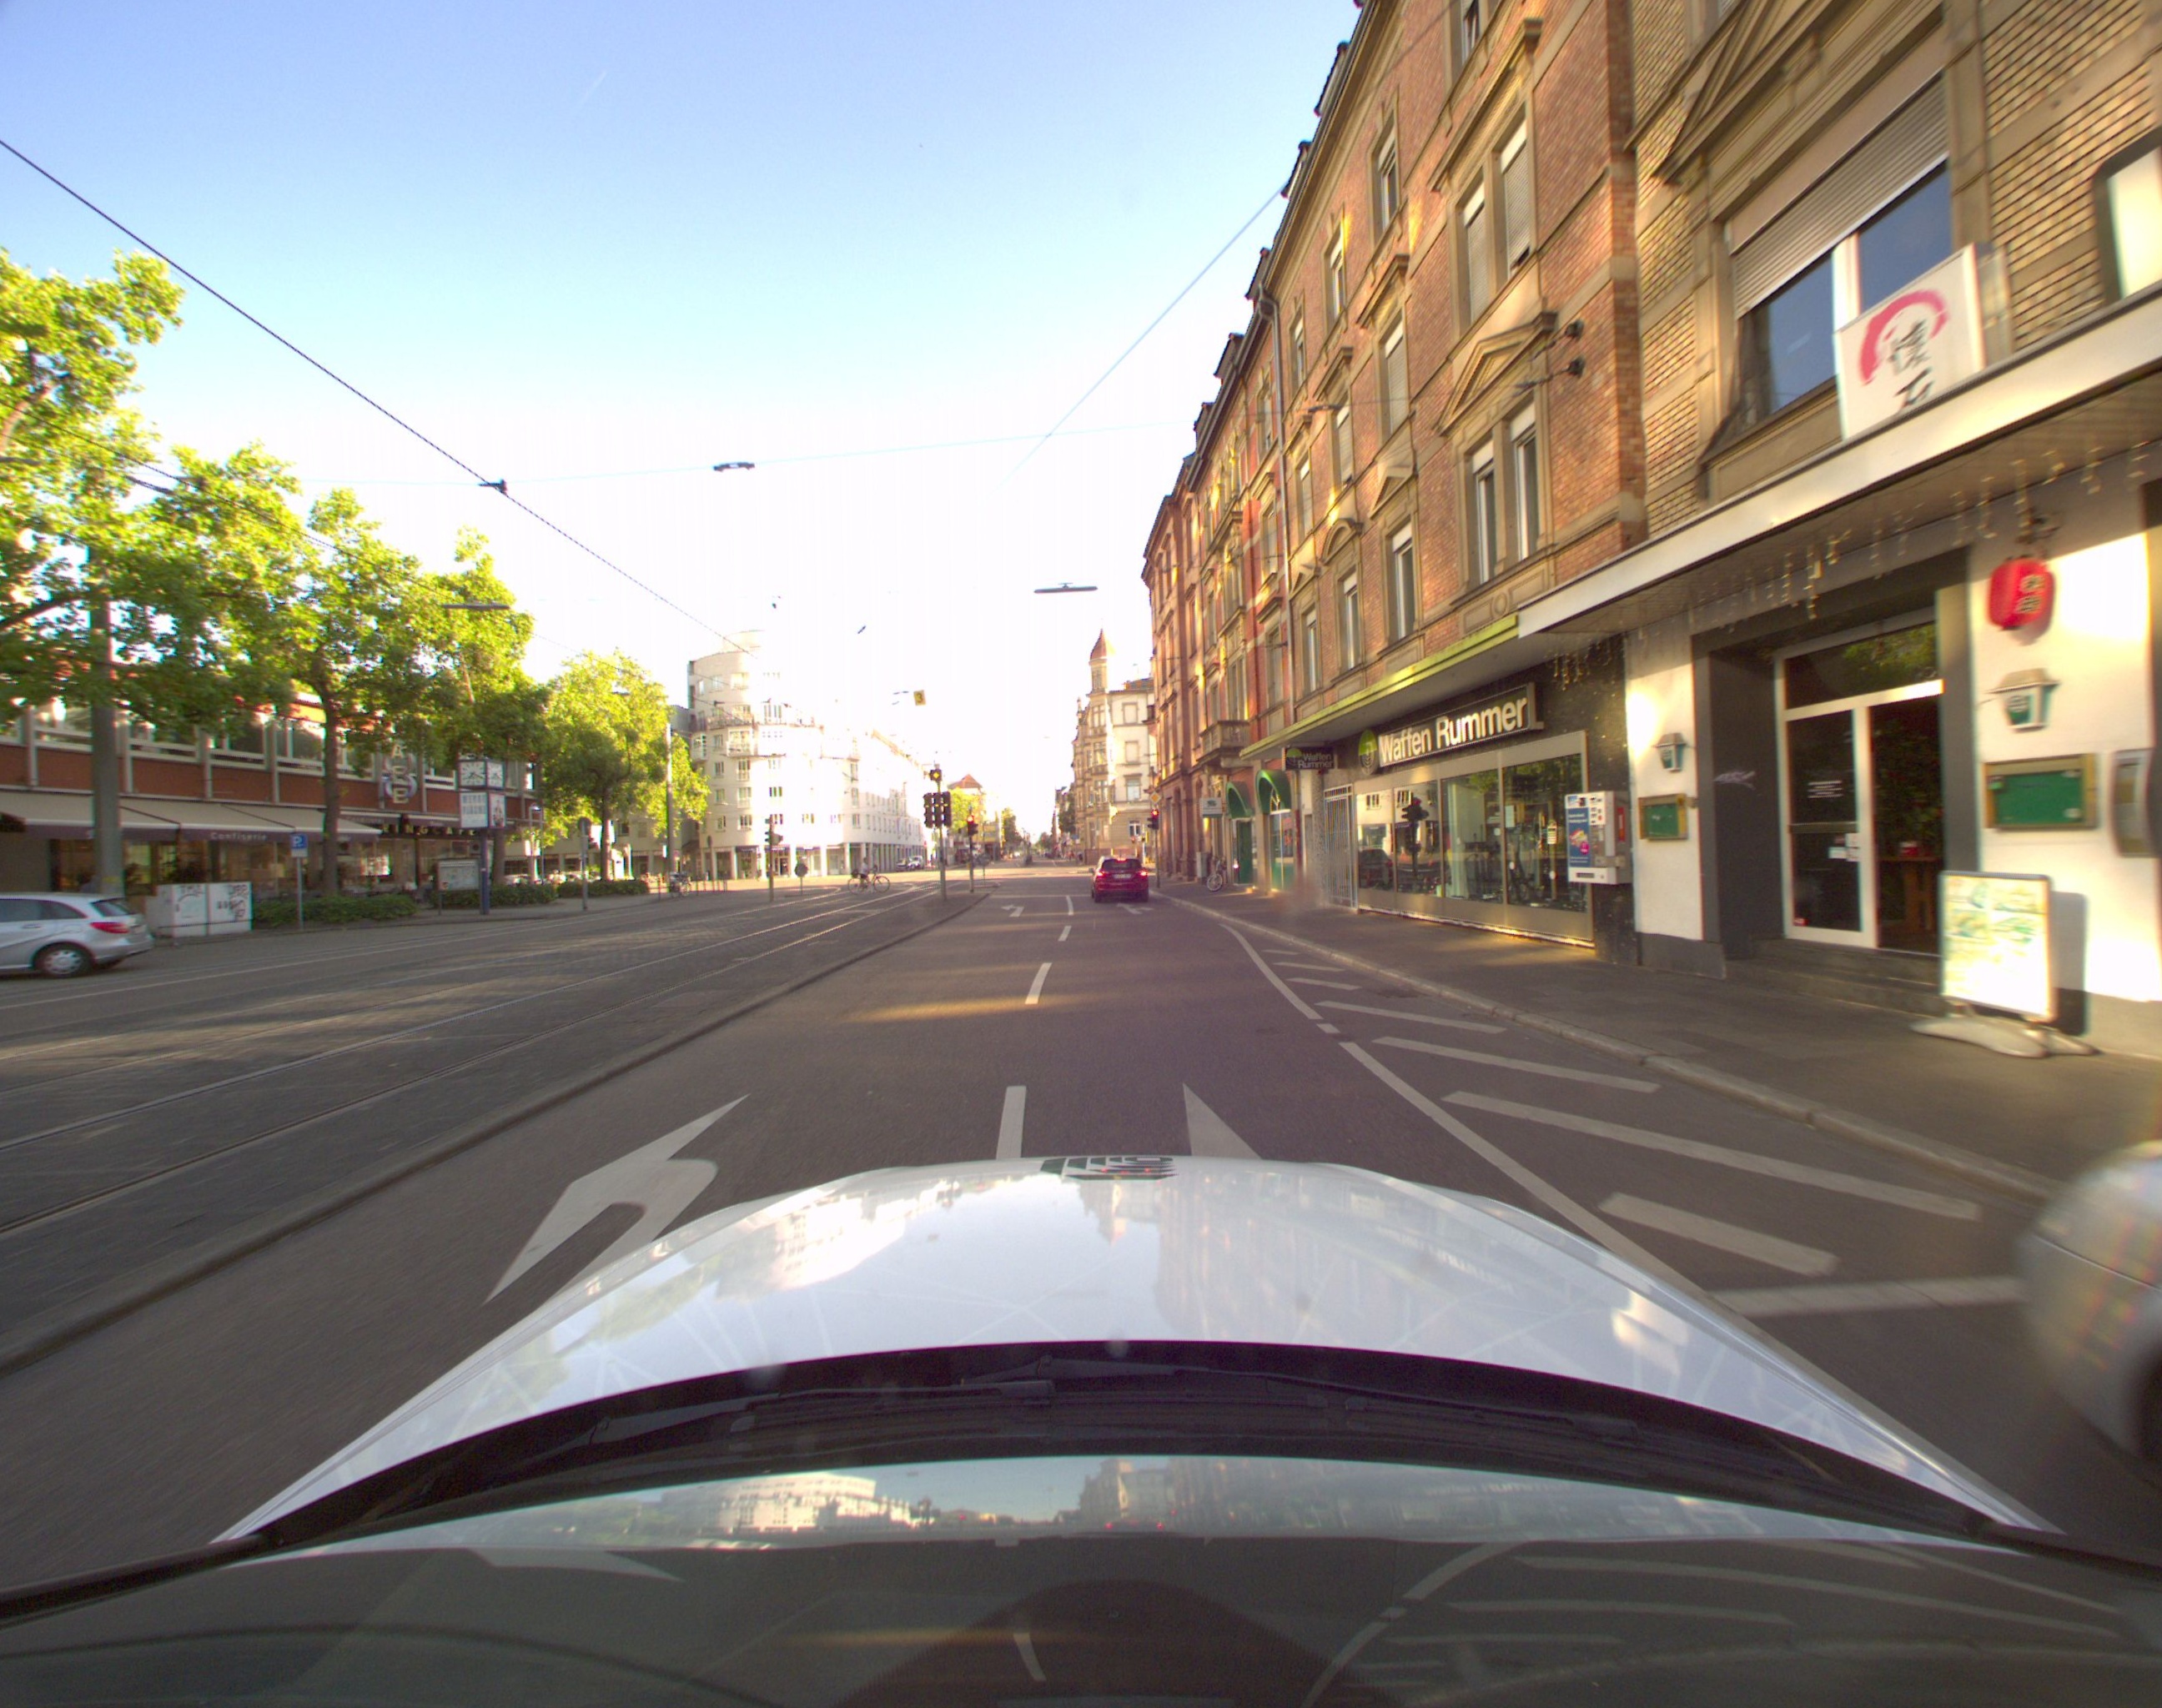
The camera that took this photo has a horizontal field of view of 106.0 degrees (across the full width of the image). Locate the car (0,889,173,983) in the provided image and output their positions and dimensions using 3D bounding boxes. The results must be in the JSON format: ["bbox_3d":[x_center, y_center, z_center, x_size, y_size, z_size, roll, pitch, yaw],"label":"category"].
[{"bbox_3d":[-19.960,1.519,14.802,4.297,1.566,1.808,-1,-1,-34],"label":"car"}]

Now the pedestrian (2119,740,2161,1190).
[{"bbox_3d":[4.772,0.420,2.819,0.944,1.792,1.053,-3,0,-4],"label":"pedestrian"}]

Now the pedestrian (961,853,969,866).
[{"bbox_3d":[-17.824,0.822,125.217,1.043,2.013,0.957,-2,0,-5],"label":"pedestrian"}]

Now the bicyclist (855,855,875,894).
[{"bbox_3d":[-9.156,0.856,34.548,0.730,1.627,0.763,-2,-1,-11],"label":"bicyclist"}]

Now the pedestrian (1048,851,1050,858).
[{"bbox_3d":[-8.802,0.264,224.639,0.576,1.887,0.669,-2,0,-3],"label":"pedestrian"}]

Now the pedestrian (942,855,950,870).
[{"bbox_3d":[-15.515,0.997,93.441,0.766,1.730,0.572,-2,0,-1],"label":"pedestrian"}]

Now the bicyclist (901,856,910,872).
[{"bbox_3d":[-19.545,1.100,90.800,0.806,1.726,0.793,-2,0,-3],"label":"bicyclist"}]

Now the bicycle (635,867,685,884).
[{"bbox_3d":[-44.193,2.233,85.549,4.687,1.530,1.067,-2,0,0],"label":"bicycle"}]

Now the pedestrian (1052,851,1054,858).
[{"bbox_3d":[-7.591,0.169,220.326,0.576,1.887,0.630,-2,0,-2],"label":"pedestrian"}]

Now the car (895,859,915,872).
[{"bbox_3d":[-21.630,1.397,100.333,1.761,1.546,3.458,-2,0,-2],"label":"car"}]

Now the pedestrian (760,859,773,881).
[{"bbox_3d":[-30.595,1.553,79.132,0.950,2.013,0.931,-2,0,-31],"label":"pedestrian"}]

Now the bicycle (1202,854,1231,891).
[{"bbox_3d":[4.677,0.631,28.067,0.710,1.152,1.662,-4,0,16],"label":"bicycle"}]

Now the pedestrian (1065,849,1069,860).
[{"bbox_3d":[-2.441,0.102,142.822,0.575,2.013,0.631,-2,0,3],"label":"pedestrian"}]

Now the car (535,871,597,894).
[{"bbox_3d":[-40.591,2.231,64.255,3.980,1.559,1.635,-3,0,9],"label":"car"}]

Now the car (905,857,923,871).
[{"bbox_3d":[-22.110,1.276,107.771,1.697,1.718,3.560,-2,0,-3],"label":"car"}]

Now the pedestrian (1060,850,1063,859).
[{"bbox_3d":[-4.368,0.026,185.240,0.576,2.013,0.630,-2,0,-2],"label":"pedestrian"}]

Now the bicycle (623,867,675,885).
[{"bbox_3d":[-43.927,2.241,82.850,4.687,1.530,1.067,-2,0,0],"label":"bicycle"}]

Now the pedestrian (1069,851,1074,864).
[{"bbox_3d":[-1.525,0.609,129.422,0.644,2.013,0.682,-2,0,-3],"label":"pedestrian"}]

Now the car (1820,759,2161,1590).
[{"bbox_3d":[2.996,0.601,0.329,1.635,1.615,3.939,-1,0,-4],"label":"car"}]

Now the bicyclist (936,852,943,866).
[{"bbox_3d":[-20.029,0.710,115.144,0.806,1.821,0.992,-2,0,-3],"label":"bicyclist"}]

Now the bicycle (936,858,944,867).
[{"bbox_3d":[-20.006,1.184,115.280,0.806,1.147,2.008,-2,0,-3],"label":"bicycle"}]

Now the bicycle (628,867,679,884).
[{"bbox_3d":[-44.114,2.175,84.048,4.687,1.530,1.067,-2,0,0],"label":"bicycle"}]

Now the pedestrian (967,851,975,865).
[{"bbox_3d":[-16.682,0.639,123.297,1.043,2.013,0.957,-2,0,-5],"label":"pedestrian"}]

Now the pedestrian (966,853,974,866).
[{"bbox_3d":[-17.288,0.899,126.679,1.043,2.013,0.957,-2,0,-5],"label":"pedestrian"}]

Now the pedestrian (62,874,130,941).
[{"bbox_3d":[-26.548,1.433,21.962,0.703,1.722,0.874,-1,1,-4],"label":"pedestrian"}]

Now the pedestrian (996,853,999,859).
[{"bbox_3d":[-22.160,0.576,217.152,0.631,1.604,0.575,-2,0,-19],"label":"pedestrian"}]

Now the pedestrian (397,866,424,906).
[{"bbox_3d":[-29.577,1.418,35.932,0.642,1.722,0.602,-1,1,16],"label":"pedestrian"}]

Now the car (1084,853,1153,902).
[{"bbox_3d":[1.149,0.714,26.659,1.751,1.466,3.939,-1,0,-4],"label":"car"}]

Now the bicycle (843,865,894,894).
[{"bbox_3d":[-9.109,1.089,34.952,2.019,1.177,0.626,-2,-1,-12],"label":"bicycle"}]

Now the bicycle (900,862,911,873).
[{"bbox_3d":[-19.522,1.454,90.586,0.806,1.147,2.047,-2,0,-3],"label":"bicycle"}]

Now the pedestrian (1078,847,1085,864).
[{"bbox_3d":[0.044,0.212,96.855,0.650,2.013,0.759,-2,0,-4],"label":"pedestrian"}]

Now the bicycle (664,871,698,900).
[{"bbox_3d":[-19.318,1.492,39.345,0.669,1.327,1.906,1,0,0],"label":"bicycle"}]
